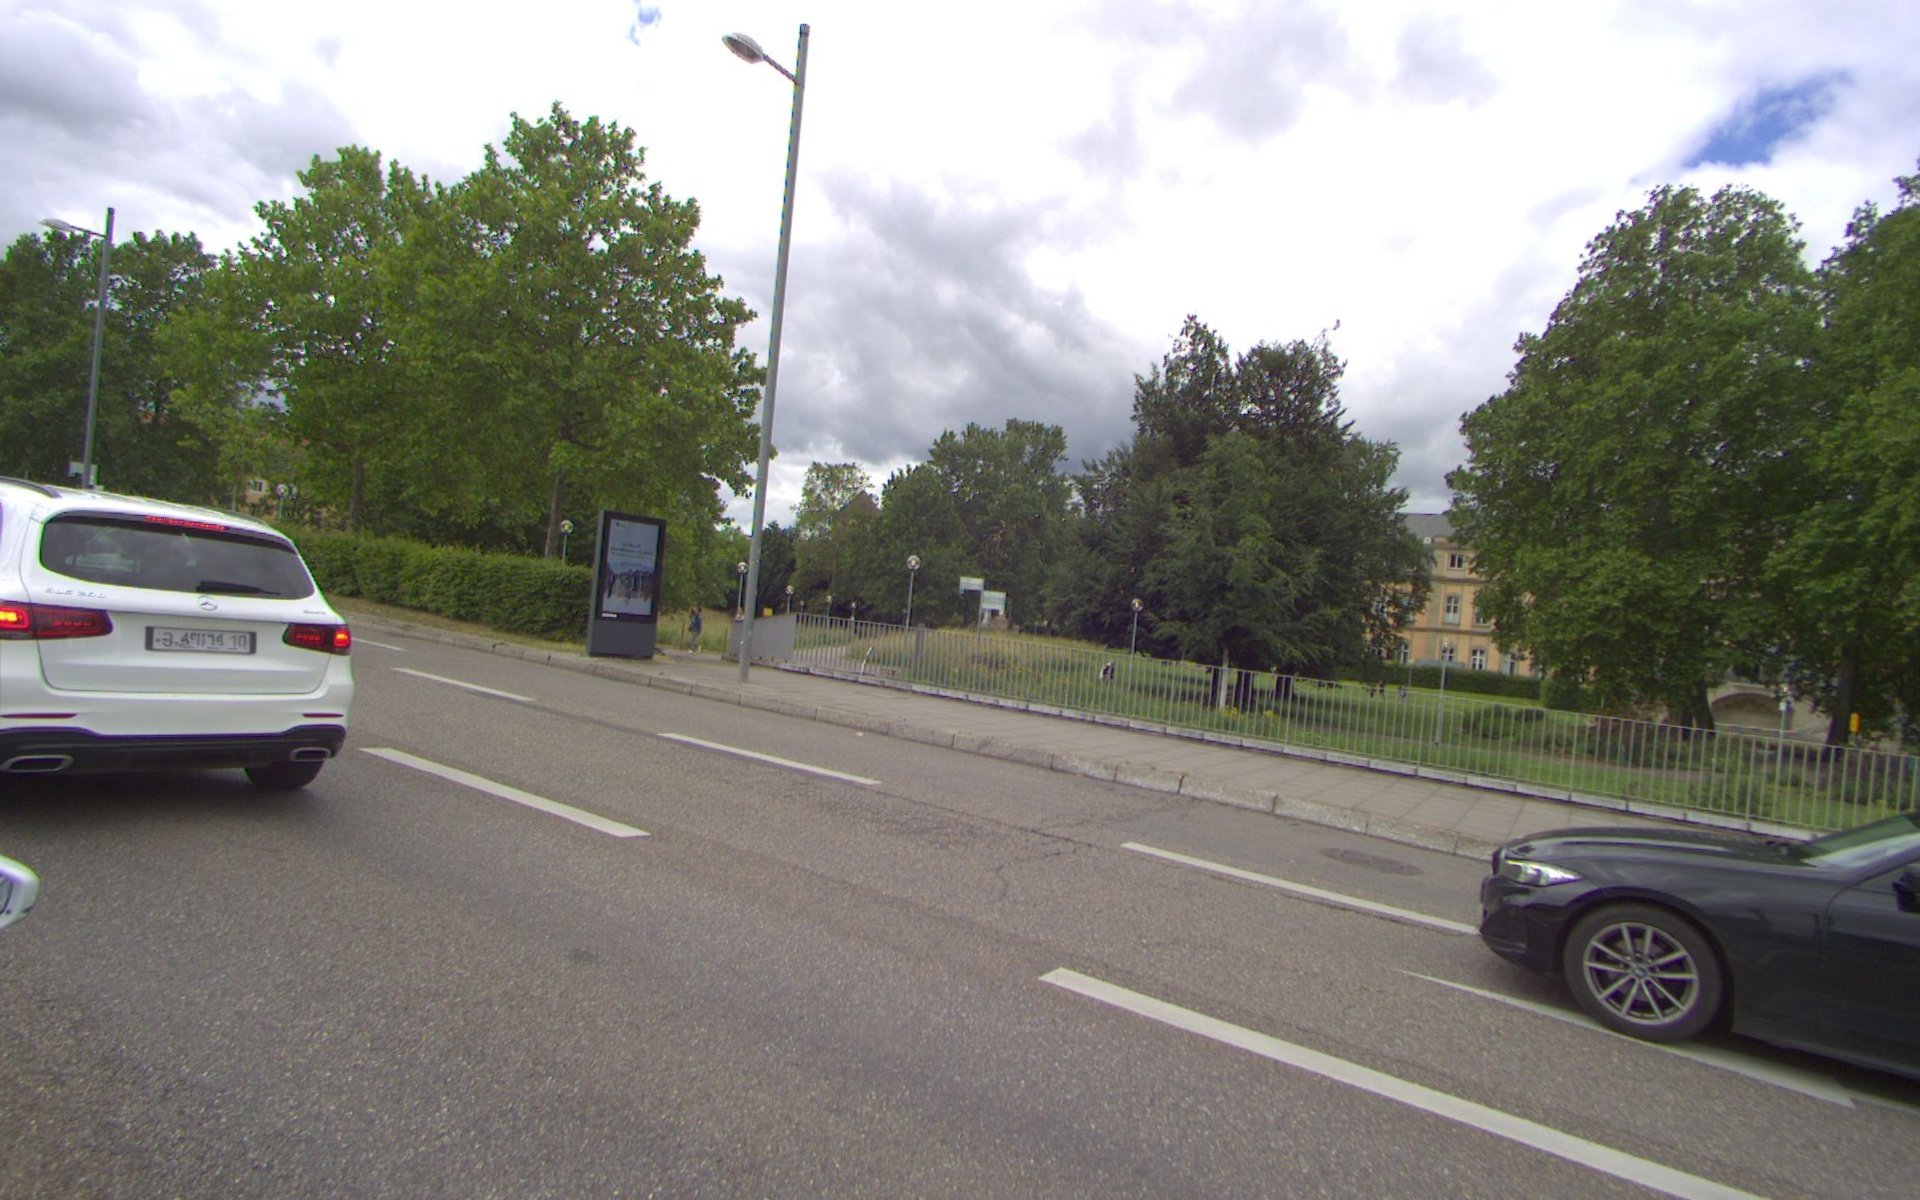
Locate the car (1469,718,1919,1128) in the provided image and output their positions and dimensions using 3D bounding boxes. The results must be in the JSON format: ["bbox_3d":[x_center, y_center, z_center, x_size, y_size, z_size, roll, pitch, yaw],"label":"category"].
[{"bbox_3d":[5.032,1.602,4.696,4.455,1.476,1.934,5,-3,34],"label":"car"}]

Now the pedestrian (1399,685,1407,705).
[{"bbox_3d":[39.626,8.518,90.066,0.460,1.725,0.405,5,-3,32],"label":"pedestrian"}]

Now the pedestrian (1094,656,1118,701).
[{"bbox_3d":[5.540,2.992,38.145,0.645,1.619,0.684,6,-2,15],"label":"pedestrian"}]

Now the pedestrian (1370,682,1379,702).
[{"bbox_3d":[37.470,8.295,90.940,0.402,1.756,0.464,8,-3,-31],"label":"pedestrian"}]

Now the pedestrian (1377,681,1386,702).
[{"bbox_3d":[38.171,8.281,91.095,0.404,1.756,0.462,9,-3,-44],"label":"pedestrian"}]

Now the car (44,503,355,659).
[{"bbox_3d":[-10.836,-0.294,14.276,4.233,1.659,1.997,6,-1,31],"label":"car"}]

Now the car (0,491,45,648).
[{"bbox_3d":[-11.857,-0.553,10.733,4.417,1.568,1.929,6,-2,33],"label":"car"}]

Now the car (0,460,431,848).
[{"bbox_3d":[-5.518,0.087,6.218,4.416,1.673,1.929,7,-1,33],"label":"car"}]
